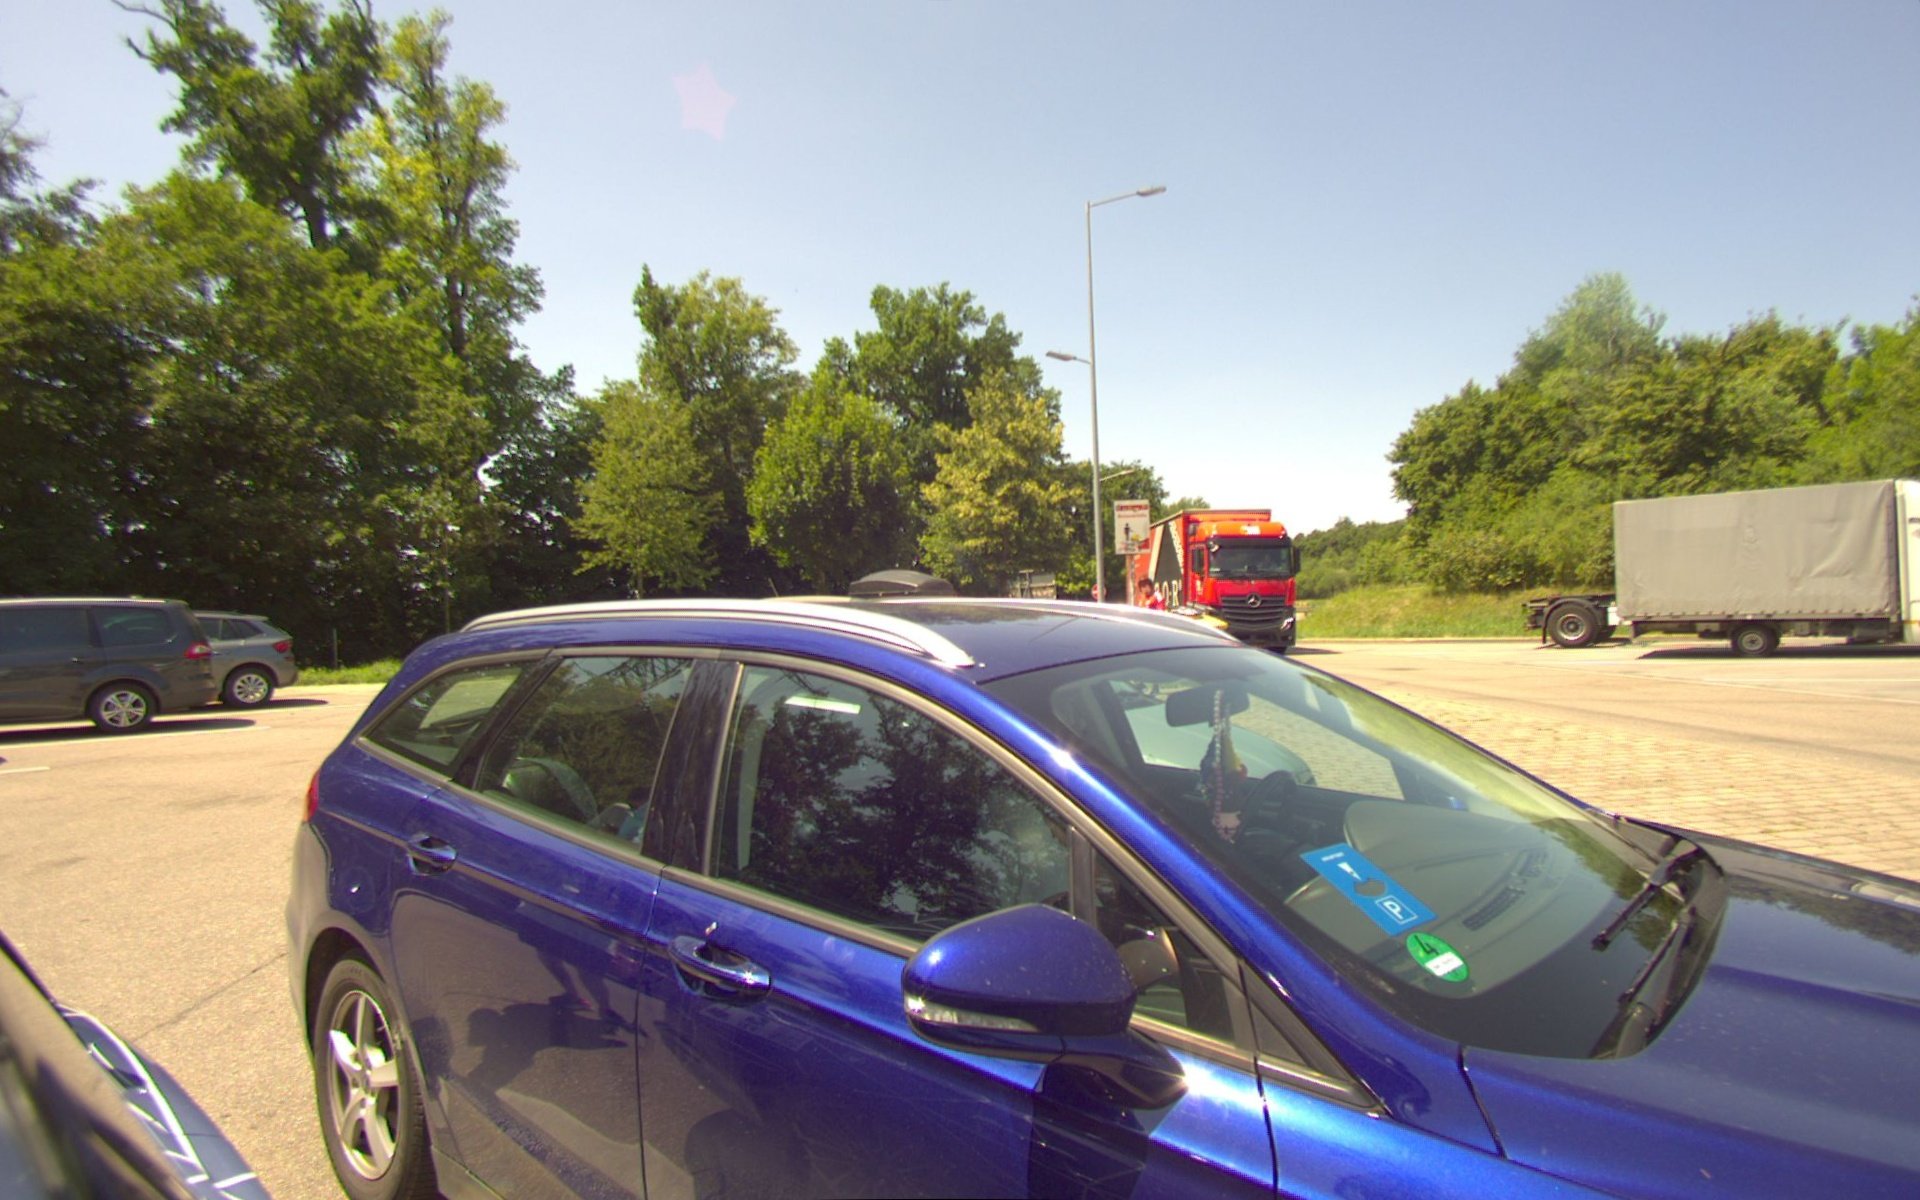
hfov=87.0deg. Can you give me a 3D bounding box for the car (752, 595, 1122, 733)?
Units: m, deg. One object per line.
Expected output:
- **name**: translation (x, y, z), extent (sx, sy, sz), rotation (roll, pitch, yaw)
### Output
- **car**: translation (-0.395, 0.771, 12.773), extent (4.485, 1.437, 1.756), rotation (-3, -1, 36)

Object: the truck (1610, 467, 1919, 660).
- **truck**: translation (16.819, -0.655, 18.976), extent (7.295, 3.259, 2.709), rotation (-4, -1, 43)

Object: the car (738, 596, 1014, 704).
- **car**: translation (-1.486, 0.822, 16.873), extent (4.485, 1.562, 1.756), rotation (-3, -1, 36)

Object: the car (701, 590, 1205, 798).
- **car**: translation (-0.255, 0.745, 9.226), extent (4.490, 1.437, 1.754), rotation (-3, -1, 40)

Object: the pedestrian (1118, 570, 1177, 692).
- **pedestrian**: translation (2.783, 0.445, 14.999), extent (0.671, 1.746, 0.827), rotation (-1, -1, 23)

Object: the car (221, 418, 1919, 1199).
- **car**: translation (0.243, 0.656, 2.153), extent (4.490, 1.502, 1.851), rotation (-3, 0, 40)

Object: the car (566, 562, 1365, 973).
- **car**: translation (-0.268, 0.690, 5.851), extent (4.490, 1.511, 1.754), rotation (-3, -1, 40)

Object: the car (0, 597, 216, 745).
- **car**: translation (-11.952, 0.852, 12.317), extent (4.553, 1.725, 1.741), rotation (0, -1, -41)

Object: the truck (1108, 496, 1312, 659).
- **truck**: translation (7.553, -0.577, 33.752), extent (3.090, 4.150, 15.397), rotation (-1, 0, 1)

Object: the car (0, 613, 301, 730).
- **car**: translation (-12.606, 0.997, 15.481), extent (1.687, 1.515, 3.943), rotation (-1, 0, 43)

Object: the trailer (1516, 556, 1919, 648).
- **trailer**: translation (17.246, 0.126, 23.404), extent (7.295, 1.701, 2.235), rotation (-4, -1, 43)
